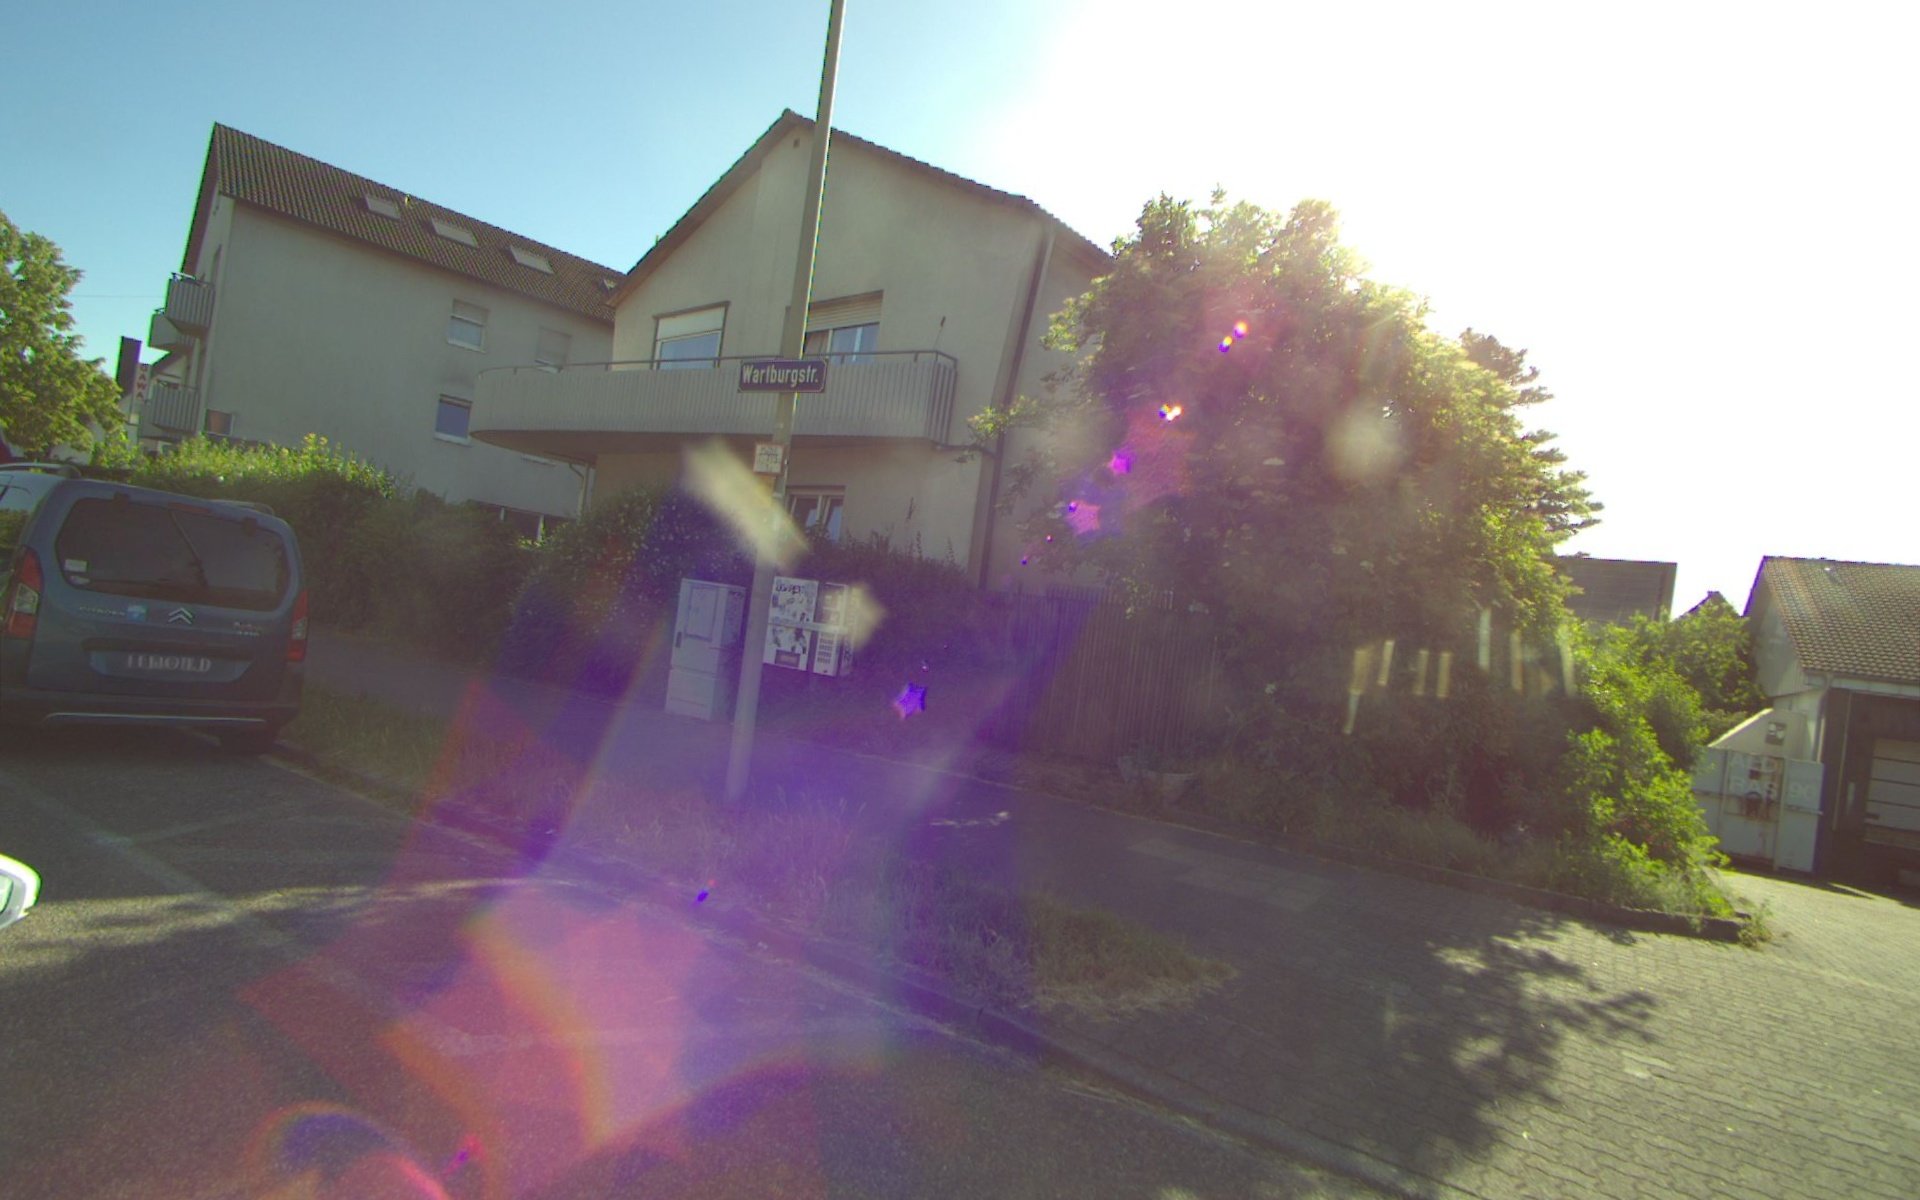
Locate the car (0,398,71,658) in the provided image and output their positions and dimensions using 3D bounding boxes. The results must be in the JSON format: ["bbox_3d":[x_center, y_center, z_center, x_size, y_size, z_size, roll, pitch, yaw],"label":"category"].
[{"bbox_3d":[-12.505,-1.083,11.350,5.135,2.674,1.962,7,-2,30],"label":"car"}]

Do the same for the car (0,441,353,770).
[{"bbox_3d":[-6.881,-0.076,7.663,4.485,1.868,1.862,7,-3,33],"label":"car"}]
